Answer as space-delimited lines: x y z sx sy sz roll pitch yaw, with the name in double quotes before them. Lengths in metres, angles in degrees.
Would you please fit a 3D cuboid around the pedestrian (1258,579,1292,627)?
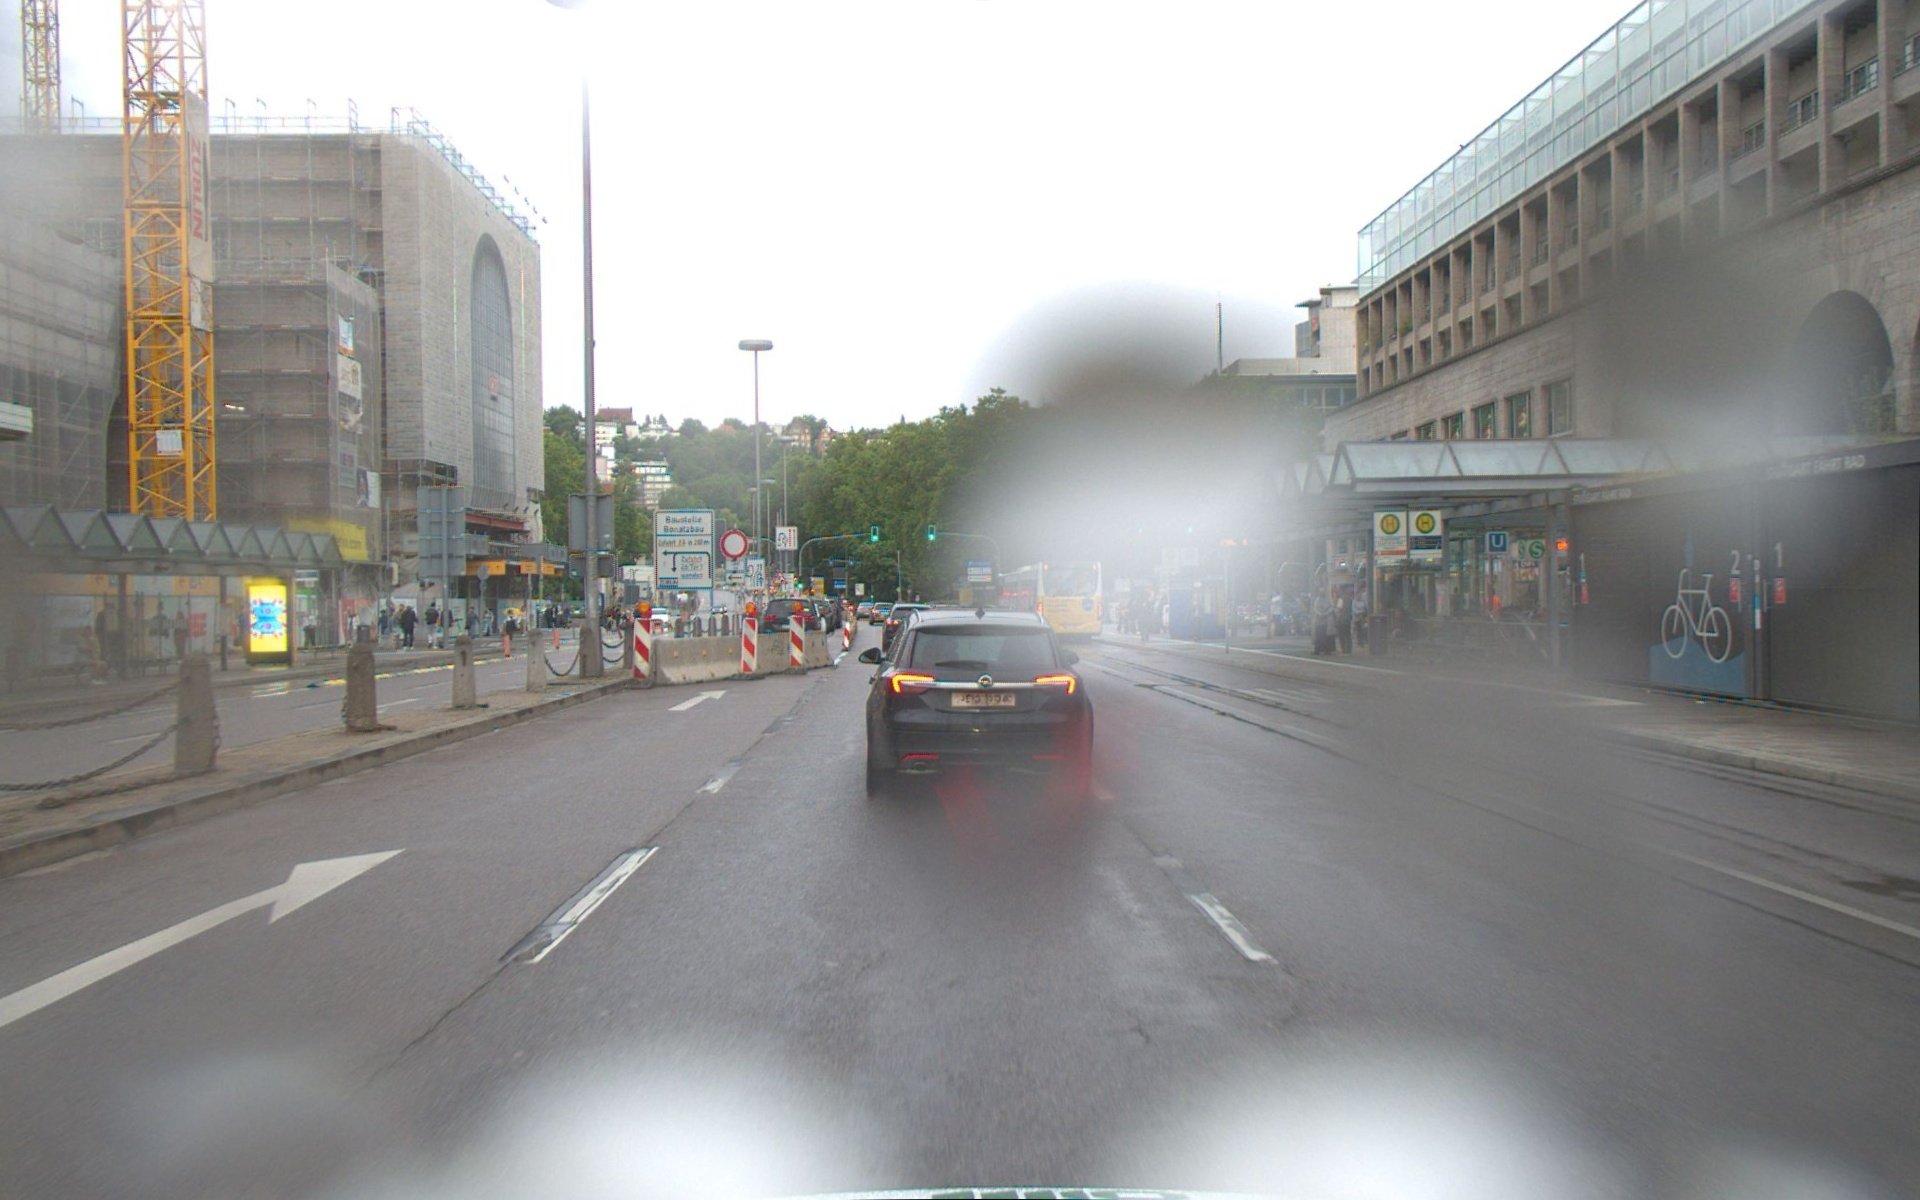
"pedestrian" 12.129 0.118 63.709 0.778 1.836 0.982 -1 0 -31

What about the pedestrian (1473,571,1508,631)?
"pedestrian" 16.882 0.029 52.615 0.752 1.863 0.745 0 0 -32

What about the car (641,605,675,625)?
"car" -22.634 1.098 124.207 1.954 1.493 3.998 0 0 -3

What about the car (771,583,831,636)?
"car" -5.560 0.313 58.260 1.954 1.736 4.828 -1 0 -4

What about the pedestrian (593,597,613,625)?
"pedestrian" -24.719 0.761 114.499 0.962 1.873 1.041 -1 0 18

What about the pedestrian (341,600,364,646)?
"pedestrian" -25.282 0.960 68.788 0.706 1.873 0.612 0 0 1

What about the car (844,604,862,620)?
"car" -11.209 1.275 173.651 1.671 1.694 3.704 0 0 -2

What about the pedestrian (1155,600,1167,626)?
"pedestrian" 9.745 0.632 80.211 0.504 1.254 0.770 -1 0 0

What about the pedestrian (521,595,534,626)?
"pedestrian" -26.396 0.649 100.926 0.758 1.873 0.831 0 0 -16

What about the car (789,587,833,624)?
"car" -7.005 0.253 78.108 1.954 1.683 4.637 -1 0 -4

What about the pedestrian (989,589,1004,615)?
"pedestrian" 2.589 0.140 118.085 0.774 1.871 0.945 -1 0 -18

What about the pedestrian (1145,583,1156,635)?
"pedestrian" 6.882 0.321 59.700 0.339 1.869 0.533 0 0 1

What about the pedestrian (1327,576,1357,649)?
"pedestrian" 9.899 0.321 42.825 0.614 1.869 0.641 0 0 0

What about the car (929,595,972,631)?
"car" -0.506 0.641 82.508 1.816 1.747 3.996 0 0 -5

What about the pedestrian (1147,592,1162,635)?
"pedestrian" 8.550 0.586 72.684 0.553 1.869 0.569 0 0 0

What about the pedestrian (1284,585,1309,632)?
"pedestrian" 12.274 0.304 60.410 0.733 1.724 0.902 0 0 1

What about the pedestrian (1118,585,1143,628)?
"pedestrian" 7.360 0.271 71.399 0.964 1.869 0.836 0 0 13

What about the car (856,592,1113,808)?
"car" 0.136 0.714 14.300 1.839 1.534 4.851 0 0 -1

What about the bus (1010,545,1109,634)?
"bus" 3.885 -0.361 66.688 3.078 3.304 9.130 0 0 -2

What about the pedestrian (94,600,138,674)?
"pedestrian" -21.643 0.946 42.409 0.729 1.873 0.702 0 0 17

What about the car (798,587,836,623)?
"car" -7.720 0.268 89.592 1.954 1.818 4.450 -1 0 -5

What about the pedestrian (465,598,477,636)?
"pedestrian" -24.462 0.840 82.735 0.561 1.873 0.701 0 0 -16

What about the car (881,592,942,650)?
"car" -1.509 0.618 51.727 1.793 1.715 4.132 -1 0 -2

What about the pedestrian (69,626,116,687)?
"pedestrian" -19.912 1.288 37.985 0.685 1.349 0.805 0 0 -4

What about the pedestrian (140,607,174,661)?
"pedestrian" -25.580 1.066 52.706 0.787 1.700 0.700 0 0 -8

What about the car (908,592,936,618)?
"car" -2.393 0.328 104.248 1.641 1.609 3.237 0 0 -4

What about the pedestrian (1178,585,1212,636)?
"pedestrian" 7.987 0.363 56.223 0.749 1.720 0.992 0 0 -23

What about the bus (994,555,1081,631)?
"bus" 3.450 -0.274 75.841 3.051 3.261 9.235 0 0 -3

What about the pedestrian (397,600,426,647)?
"pedestrian" -22.204 0.951 66.965 0.688 1.873 0.877 0 0 26

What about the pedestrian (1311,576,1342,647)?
"pedestrian" 9.729 0.294 43.928 0.662 1.869 0.574 0 0 -1

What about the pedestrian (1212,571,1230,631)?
"pedestrian" 9.917 0.034 62.805 0.578 2.254 0.587 0 0 -1

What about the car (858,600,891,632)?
"car" -5.665 1.043 109.601 1.945 2.049 4.363 0 0 -6

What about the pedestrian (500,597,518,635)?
"pedestrian" -22.525 0.787 82.599 0.861 1.873 0.835 0 0 -17

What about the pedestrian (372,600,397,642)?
"pedestrian" -25.478 0.919 73.271 0.786 1.873 0.868 0 0 1

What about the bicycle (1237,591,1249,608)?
"bicycle" 20.449 -0.034 119.516 0.603 1.138 1.997 -3 0 4

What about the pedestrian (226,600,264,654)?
"pedestrian" -25.073 0.930 58.017 0.840 1.873 1.044 1 0 -2

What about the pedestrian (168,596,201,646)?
"pedestrian" -24.772 0.664 52.833 0.787 1.574 0.700 0 0 -8

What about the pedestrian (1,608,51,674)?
"pedestrian" -24.967 1.078 44.220 0.860 1.729 0.836 0 0 -4

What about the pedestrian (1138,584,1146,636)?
"pedestrian" 6.568 0.362 59.707 0.238 1.869 0.512 0 0 1

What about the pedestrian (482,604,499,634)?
"pedestrian" -26.008 1.043 91.635 0.662 1.642 0.838 0 0 0

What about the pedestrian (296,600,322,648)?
"pedestrian" -25.327 0.935 64.387 0.727 1.873 0.656 0 0 1

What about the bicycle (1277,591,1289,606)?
"bicycle" 23.337 -0.133 119.446 0.603 1.074 1.997 -3 0 4

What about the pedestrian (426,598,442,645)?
"pedestrian" -21.331 0.878 67.043 0.498 1.873 0.703 0 0 -8

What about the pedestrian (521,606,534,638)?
"pedestrian" -24.050 1.221 92.045 0.670 1.715 0.835 0 0 -16

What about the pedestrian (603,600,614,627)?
"pedestrian" -24.535 0.959 115.491 0.684 1.873 0.528 -1 0 -5

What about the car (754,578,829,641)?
"car" -5.322 0.280 52.799 1.953 1.895 4.831 -1 0 -1

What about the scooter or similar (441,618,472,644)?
"scooter or similar" -20.906 1.280 68.685 0.450 1.084 1.237 0 0 32

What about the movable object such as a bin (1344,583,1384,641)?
"movable object such as a bin" 12.068 0.353 49.449 0.654 1.681 1.040 0 0 -25

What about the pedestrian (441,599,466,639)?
"pedestrian" -24.351 0.907 79.500 0.822 1.873 1.058 0 0 1
